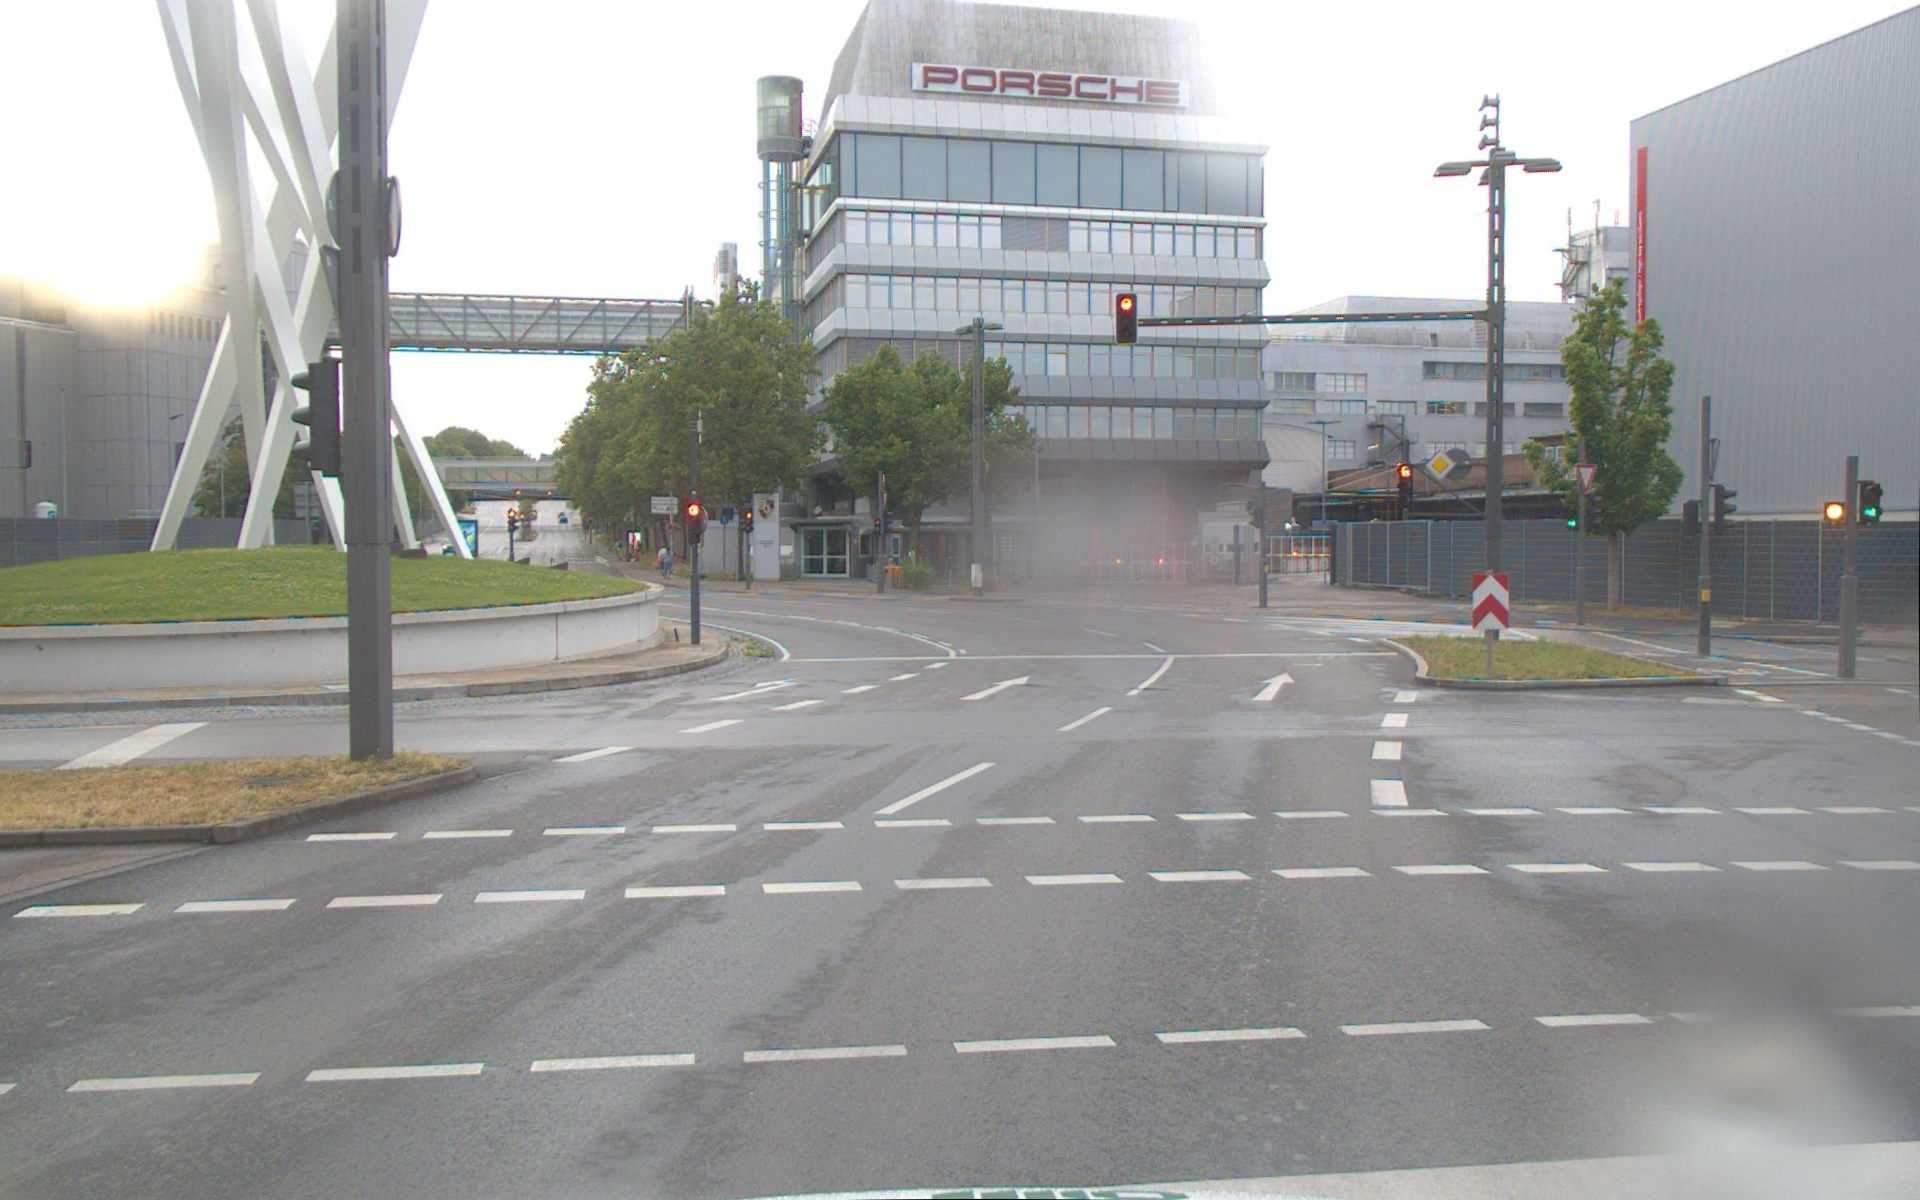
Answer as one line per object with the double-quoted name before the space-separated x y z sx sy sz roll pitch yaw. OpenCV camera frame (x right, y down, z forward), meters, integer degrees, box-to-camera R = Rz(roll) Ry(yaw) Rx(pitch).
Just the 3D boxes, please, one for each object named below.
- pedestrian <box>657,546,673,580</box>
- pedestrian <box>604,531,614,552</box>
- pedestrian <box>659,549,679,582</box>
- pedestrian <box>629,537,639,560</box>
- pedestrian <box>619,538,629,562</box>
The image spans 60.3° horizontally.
"pedestrian" -14.245 -1.795 79.899 0.696 1.619 0.839 -1 2 -10
"pedestrian" -35.101 -5.864 165.451 0.749 2.049 0.693 0 1 3
"pedestrian" -13.788 -1.634 78.451 0.818 1.547 0.838 -1 2 -17
"pedestrian" -25.606 -4.044 129.884 0.744 1.770 0.712 1 -1 -10
"pedestrian" -25.669 -3.844 126.502 0.699 1.770 0.757 1 -1 -14
